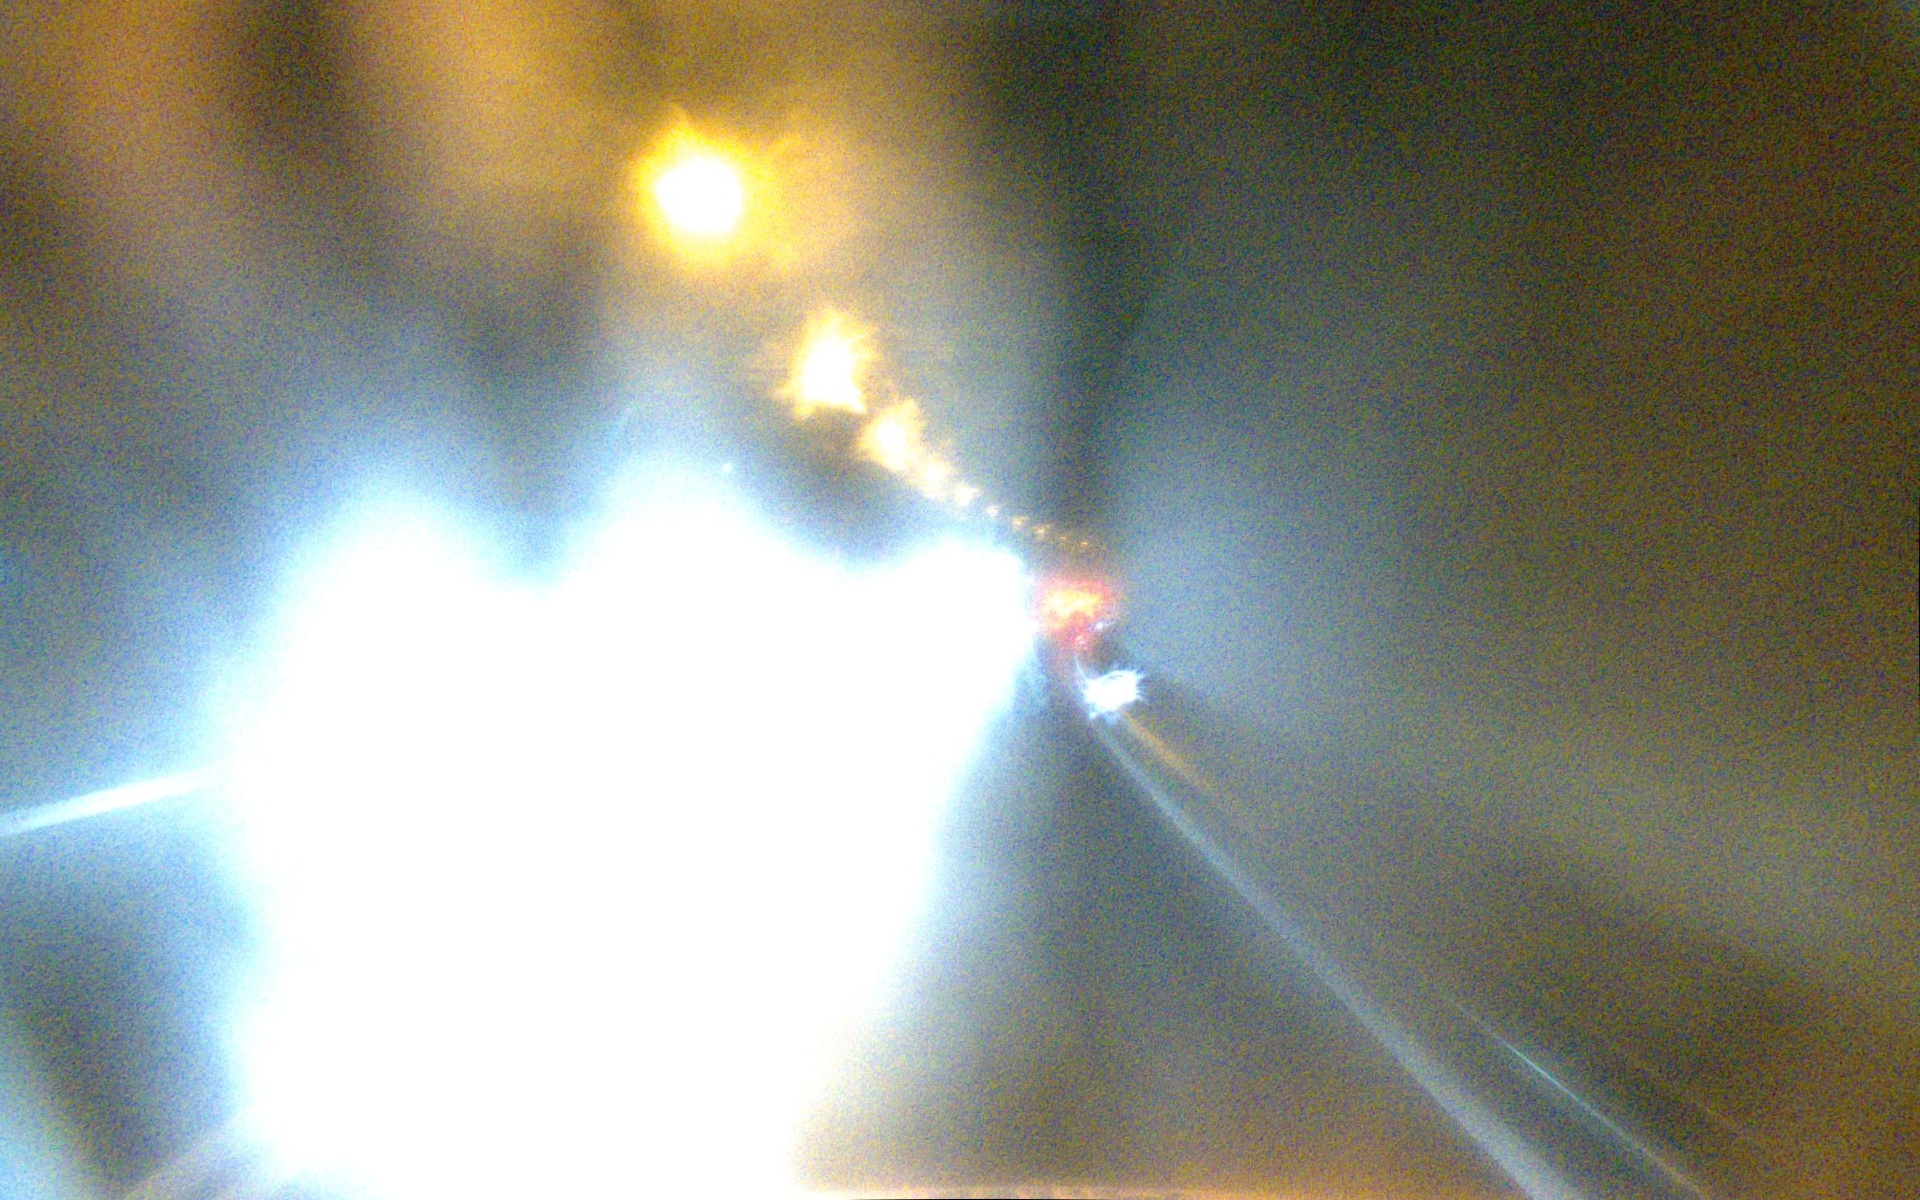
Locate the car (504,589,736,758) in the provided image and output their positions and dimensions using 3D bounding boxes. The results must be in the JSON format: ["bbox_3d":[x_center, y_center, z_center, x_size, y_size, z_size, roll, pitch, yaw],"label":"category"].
[{"bbox_3d":[-3.277,0.643,16.610,1.593,1.472,3.935,1,0,-2],"label":"car"}]

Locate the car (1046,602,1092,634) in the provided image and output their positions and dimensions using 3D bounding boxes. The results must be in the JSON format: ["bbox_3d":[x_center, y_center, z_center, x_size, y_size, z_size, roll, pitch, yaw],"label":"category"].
[{"bbox_3d":[5.918,0.944,89.467,1.951,1.679,4.003,1,0,11],"label":"car"}]

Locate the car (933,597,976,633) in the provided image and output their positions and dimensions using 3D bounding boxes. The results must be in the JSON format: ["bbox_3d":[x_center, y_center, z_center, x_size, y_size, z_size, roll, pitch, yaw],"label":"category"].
[{"bbox_3d":[-0.192,0.584,67.124,1.596,1.422,4.001,0,0,2],"label":"car"}]
